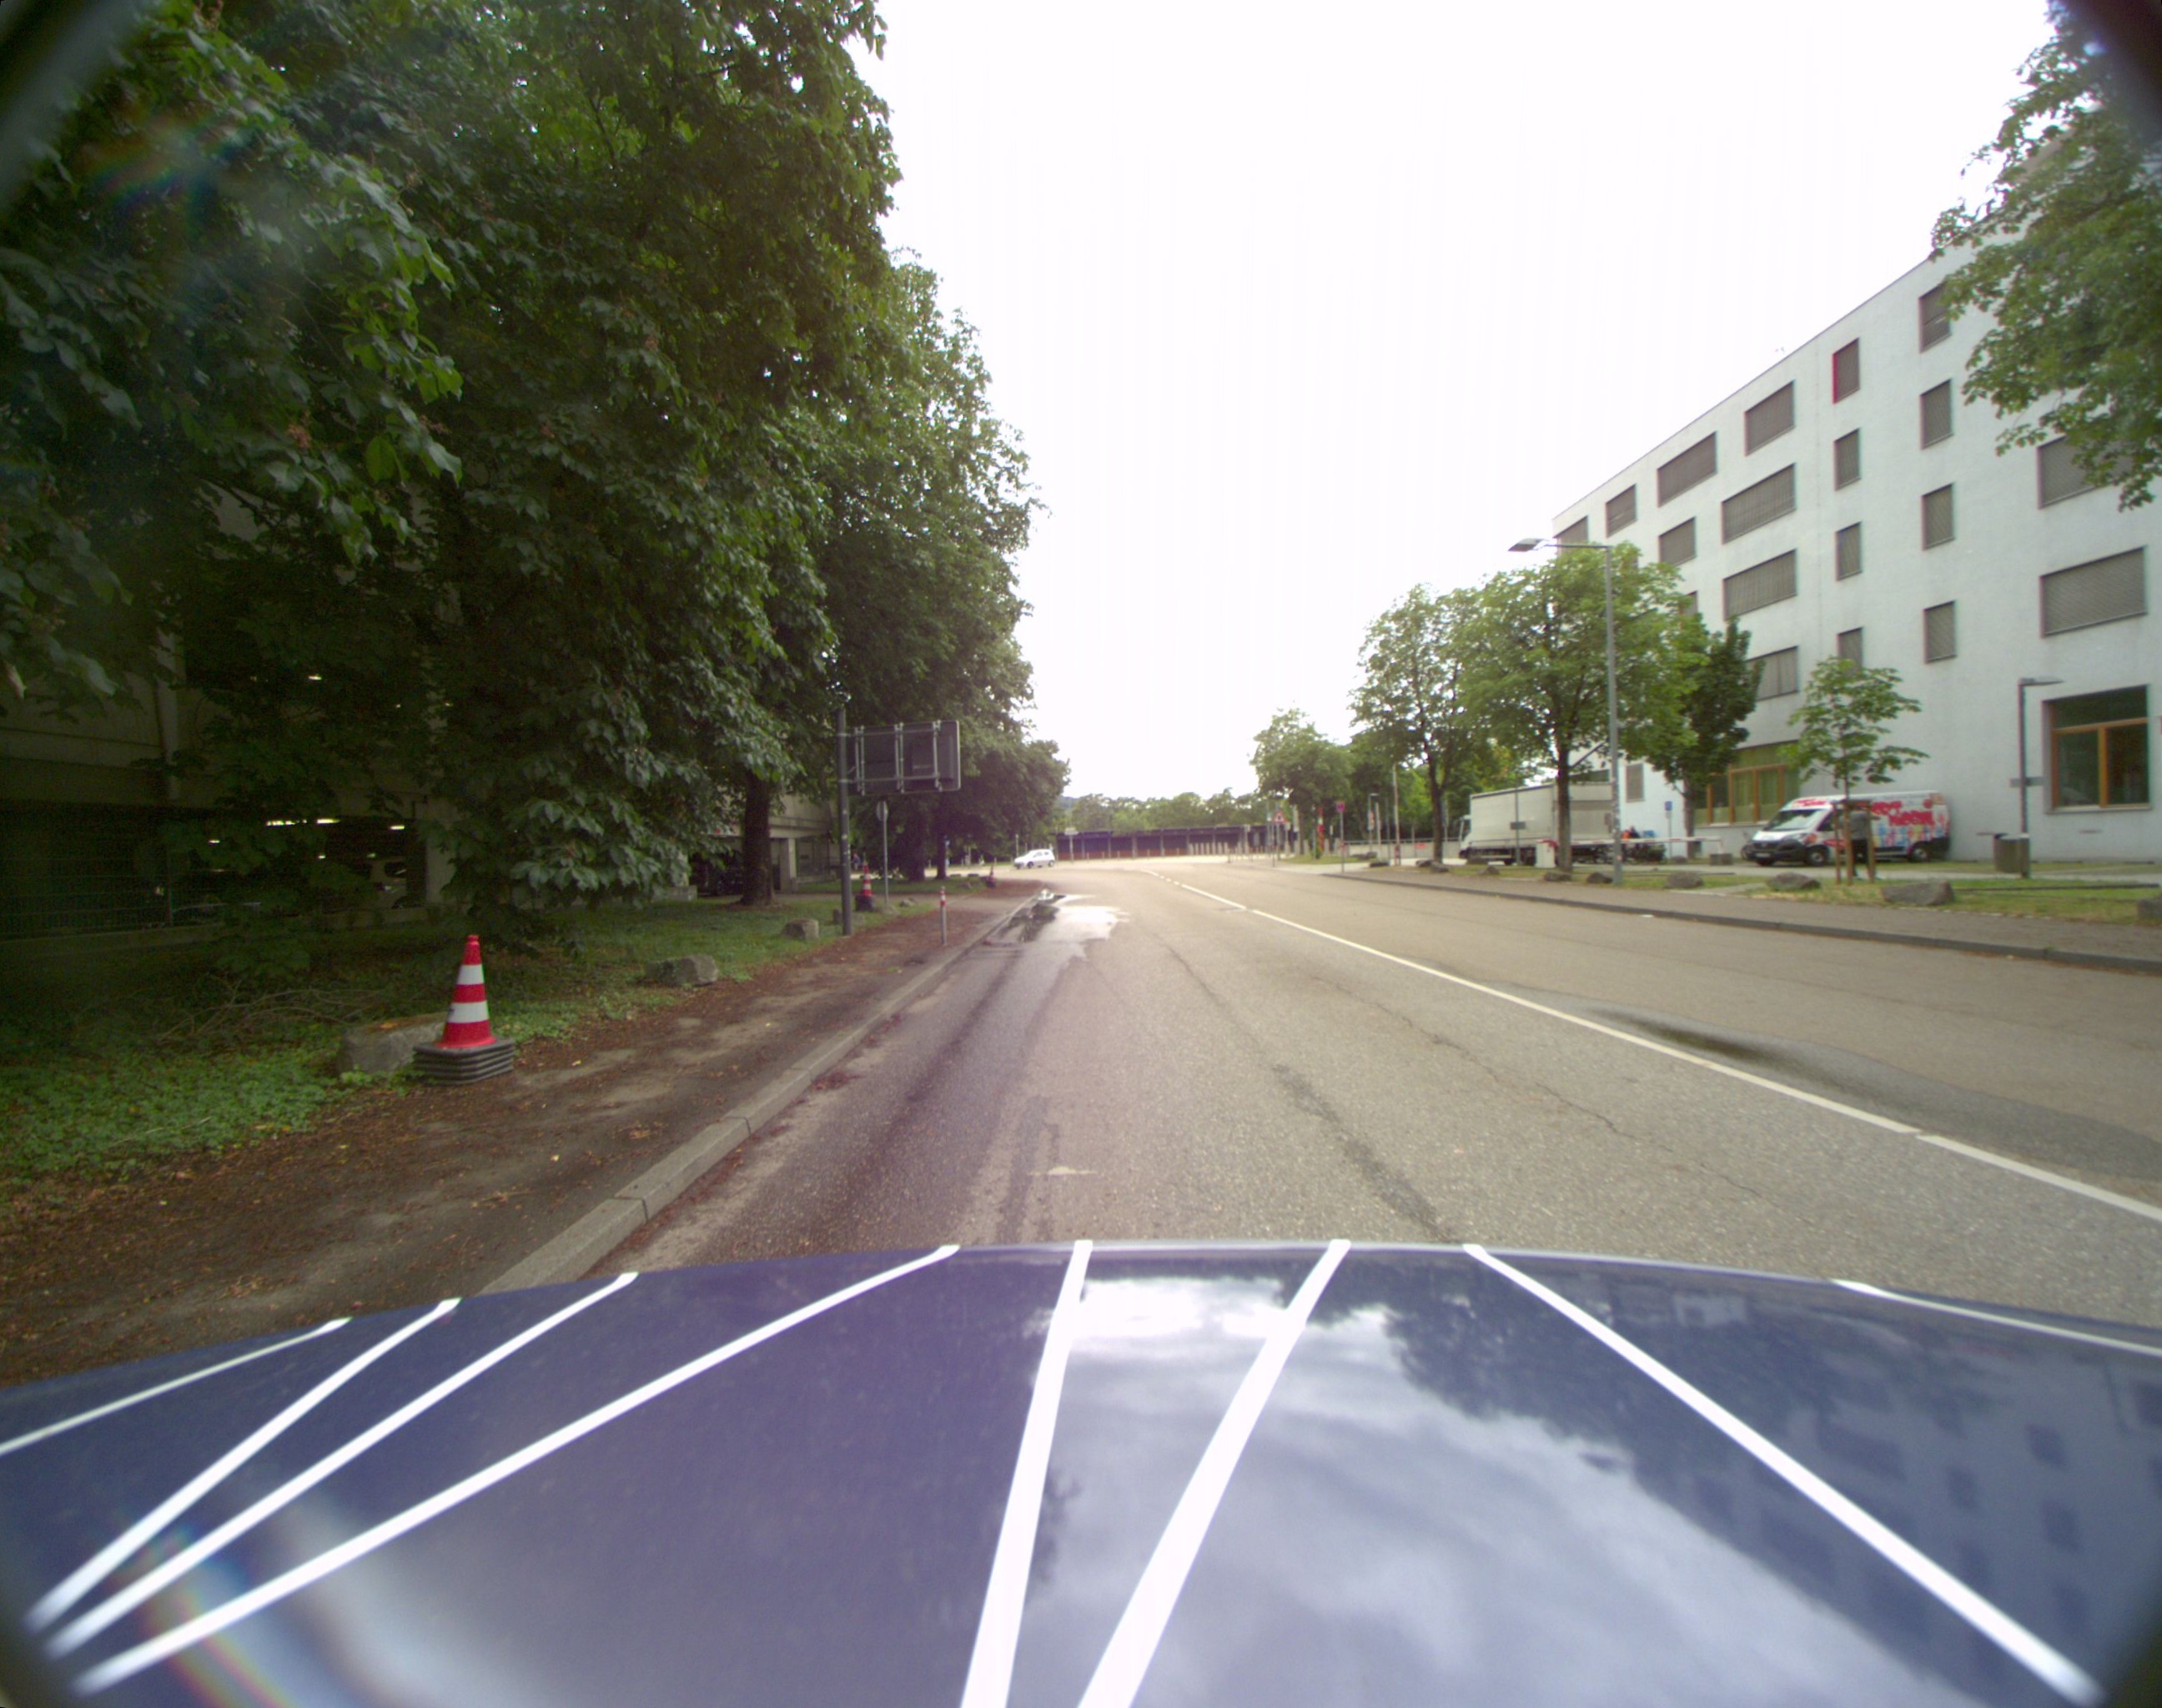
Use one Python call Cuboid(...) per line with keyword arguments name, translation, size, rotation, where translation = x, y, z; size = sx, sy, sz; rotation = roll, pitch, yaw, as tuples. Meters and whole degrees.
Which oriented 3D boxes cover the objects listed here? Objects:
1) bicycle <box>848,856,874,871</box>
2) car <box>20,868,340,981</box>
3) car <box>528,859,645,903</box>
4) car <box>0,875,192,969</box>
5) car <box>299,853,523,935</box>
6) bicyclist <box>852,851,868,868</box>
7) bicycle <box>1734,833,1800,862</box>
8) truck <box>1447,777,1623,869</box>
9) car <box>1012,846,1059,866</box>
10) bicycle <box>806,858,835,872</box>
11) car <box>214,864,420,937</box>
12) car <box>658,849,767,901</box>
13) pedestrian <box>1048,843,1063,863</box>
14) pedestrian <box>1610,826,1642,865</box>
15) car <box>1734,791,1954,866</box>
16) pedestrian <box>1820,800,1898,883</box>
Cuboid(name="bicycle", translation=(-19.838, 0.856, 68.441), size=(2.050, 1.137, 0.777), rotation=(-3, 3, -1))
Cuboid(name="car", translation=(-17.479, 1.257, 15.088), size=(1.589, 1.699, 3.856), rotation=(-3, 2, 1))
Cuboid(name="car", translation=(-20.014, 1.062, 30.988), size=(1.876, 1.445, 4.000), rotation=(-3, 2, 4))
Cuboid(name="car", translation=(-20.377, 1.314, 14.771), size=(1.721, 1.537, 3.700), rotation=(-3, 2, -1))
Cuboid(name="car", translation=(-17.254, 0.924, 19.955), size=(1.589, 1.699, 4.666), rotation=(-3, 2, 1))
Cuboid(name="bicyclist", translation=(-19.862, 0.487, 68.425), size=(1.101, 1.487, 0.927), rotation=(-3, 3, -1))
Cuboid(name="bicycle", translation=(27.614, -0.280, 30.591), size=(2.029, 1.064, 0.613), rotation=(-3, 2, 4))
Cuboid(name="truck", translation=(20.357, -1.360, 34.843), size=(2.684, 3.580, 8.361), rotation=(-3, 2, -2))
Cuboid(name="car", translation=(-3.762, 0.181, 62.833), size=(3.509, 1.448, 1.603), rotation=(-4, 2, -38))
Cuboid(name="bicycle", translation=(-23.395, 1.002, 68.298), size=(2.257, 1.117, 0.748), rotation=(-3, 2, -3))
Cuboid(name="car", translation=(-20.270, 1.160, 20.416), size=(1.721, 1.577, 3.690), rotation=(-3, 2, -1))
Cuboid(name="car", translation=(-14.661, 0.747, 30.575), size=(1.924, 1.824, 4.735), rotation=(-3, 1, 0))
Cuboid(name="pedestrian", translation=(-2.461, -0.138, 72.769), size=(1.200, 1.824, 0.927), rotation=(-3, 3, 4))
Cuboid(name="pedestrian", translation=(23.392, -0.371, 32.600), size=(0.680, 1.597, 0.886), rotation=(-4, 2, -33))
Cuboid(name="car", translation=(26.599, -0.885, 26.628), size=(5.640, 2.266, 2.078), rotation=(-3, 2, 0))
Cuboid(name="pedestrian", translation=(16.413, -0.271, 16.044), size=(0.846, 1.662, 0.786), rotation=(-3, 2, -6))
